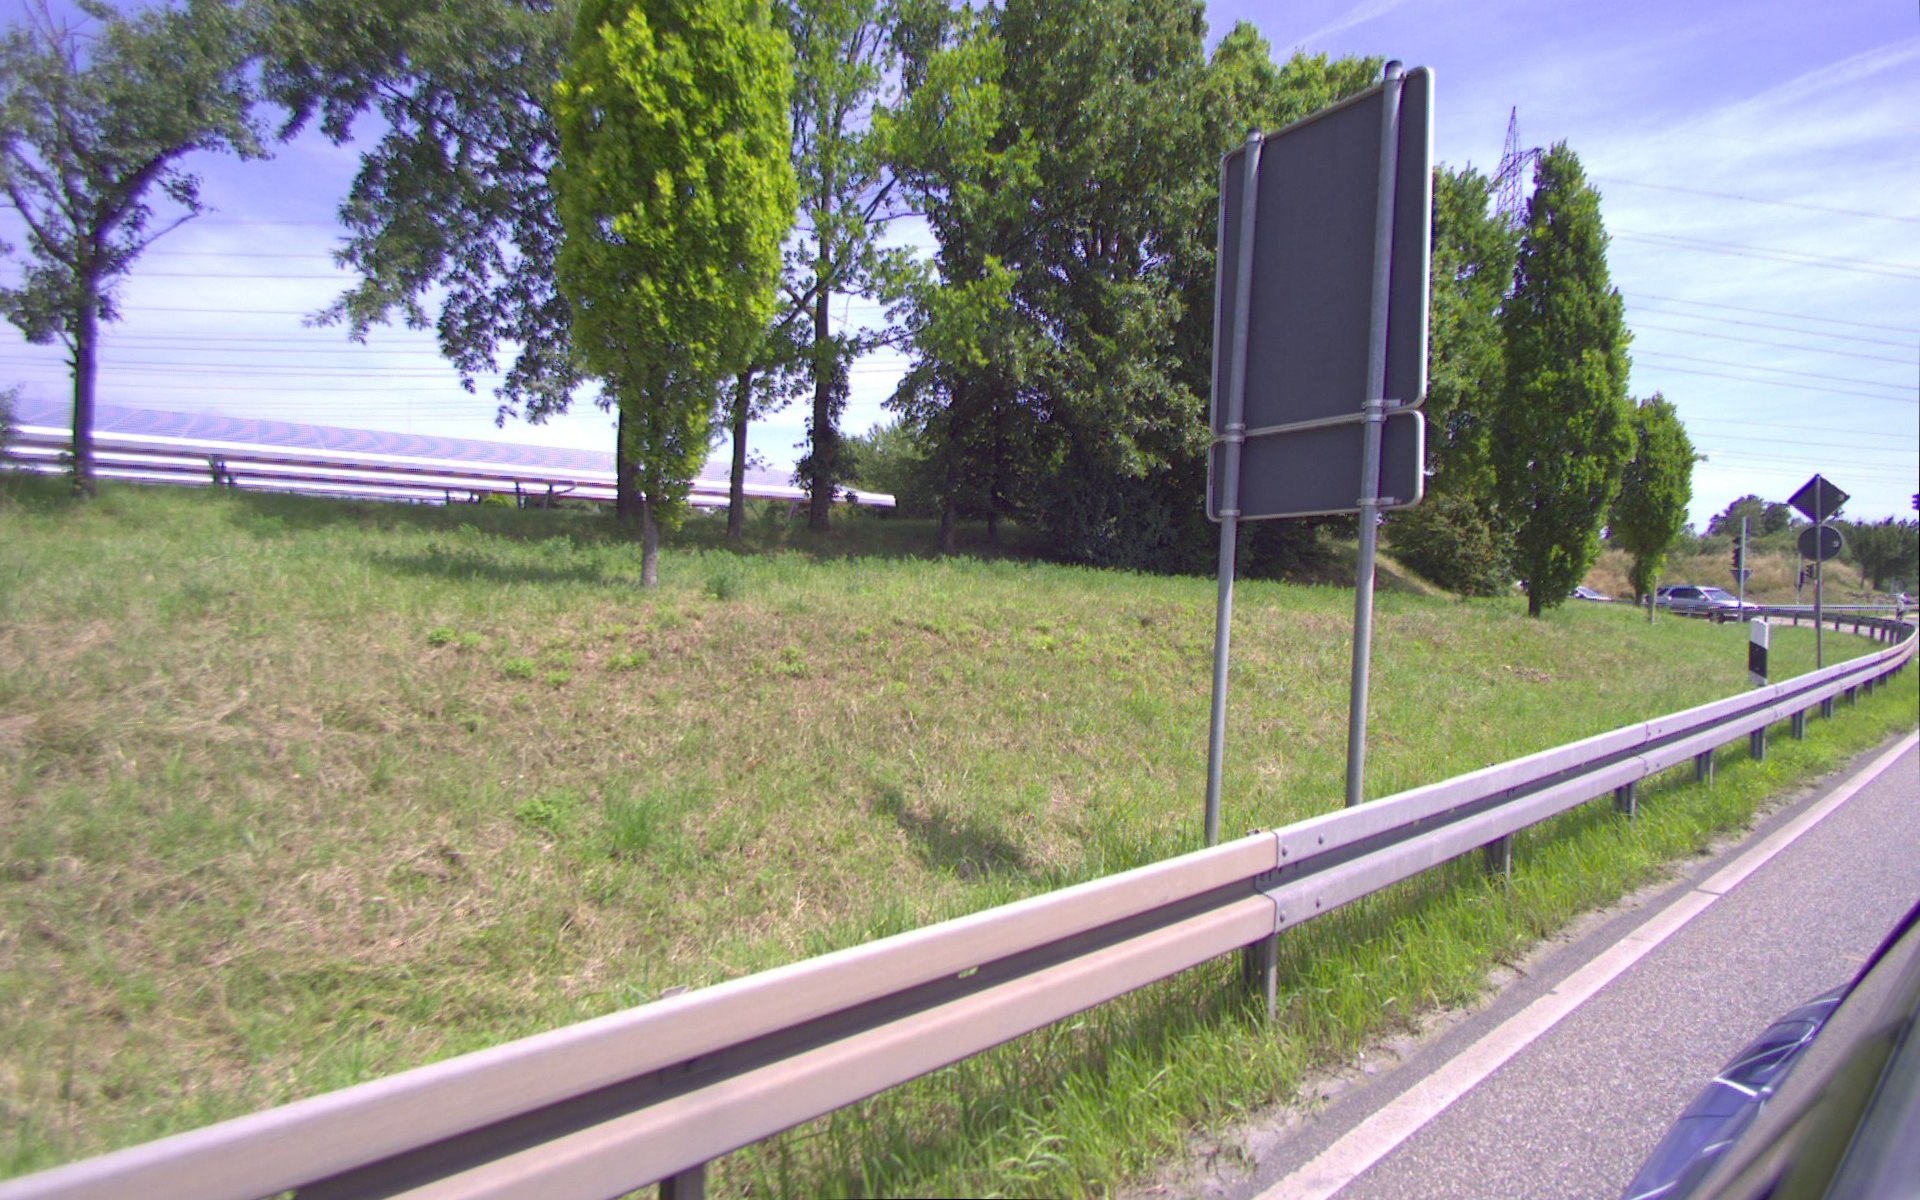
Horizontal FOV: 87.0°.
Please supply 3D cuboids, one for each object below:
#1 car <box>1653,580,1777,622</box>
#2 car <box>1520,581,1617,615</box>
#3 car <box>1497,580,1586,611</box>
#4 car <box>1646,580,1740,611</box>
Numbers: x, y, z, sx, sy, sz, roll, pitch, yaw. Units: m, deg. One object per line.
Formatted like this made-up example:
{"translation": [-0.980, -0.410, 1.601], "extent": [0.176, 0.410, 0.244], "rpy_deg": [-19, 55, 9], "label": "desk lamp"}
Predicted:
{"translation": [34.403, 0.011, 46.286], "extent": [1.798, 1.675, 4.382], "rpy_deg": [2, 2, -11], "label": "car"}
{"translation": [31.989, -0.139, 53.276], "extent": [1.746, 1.619, 4.006], "rpy_deg": [0, 3, -29], "label": "car"}
{"translation": [33.207, -0.278, 57.881], "extent": [4.335, 1.612, 1.762], "rpy_deg": [2, 2, 30], "label": "car"}
{"translation": [42.913, -0.289, 59.381], "extent": [4.343, 1.529, 1.696], "rpy_deg": [4, 3, 34], "label": "car"}
